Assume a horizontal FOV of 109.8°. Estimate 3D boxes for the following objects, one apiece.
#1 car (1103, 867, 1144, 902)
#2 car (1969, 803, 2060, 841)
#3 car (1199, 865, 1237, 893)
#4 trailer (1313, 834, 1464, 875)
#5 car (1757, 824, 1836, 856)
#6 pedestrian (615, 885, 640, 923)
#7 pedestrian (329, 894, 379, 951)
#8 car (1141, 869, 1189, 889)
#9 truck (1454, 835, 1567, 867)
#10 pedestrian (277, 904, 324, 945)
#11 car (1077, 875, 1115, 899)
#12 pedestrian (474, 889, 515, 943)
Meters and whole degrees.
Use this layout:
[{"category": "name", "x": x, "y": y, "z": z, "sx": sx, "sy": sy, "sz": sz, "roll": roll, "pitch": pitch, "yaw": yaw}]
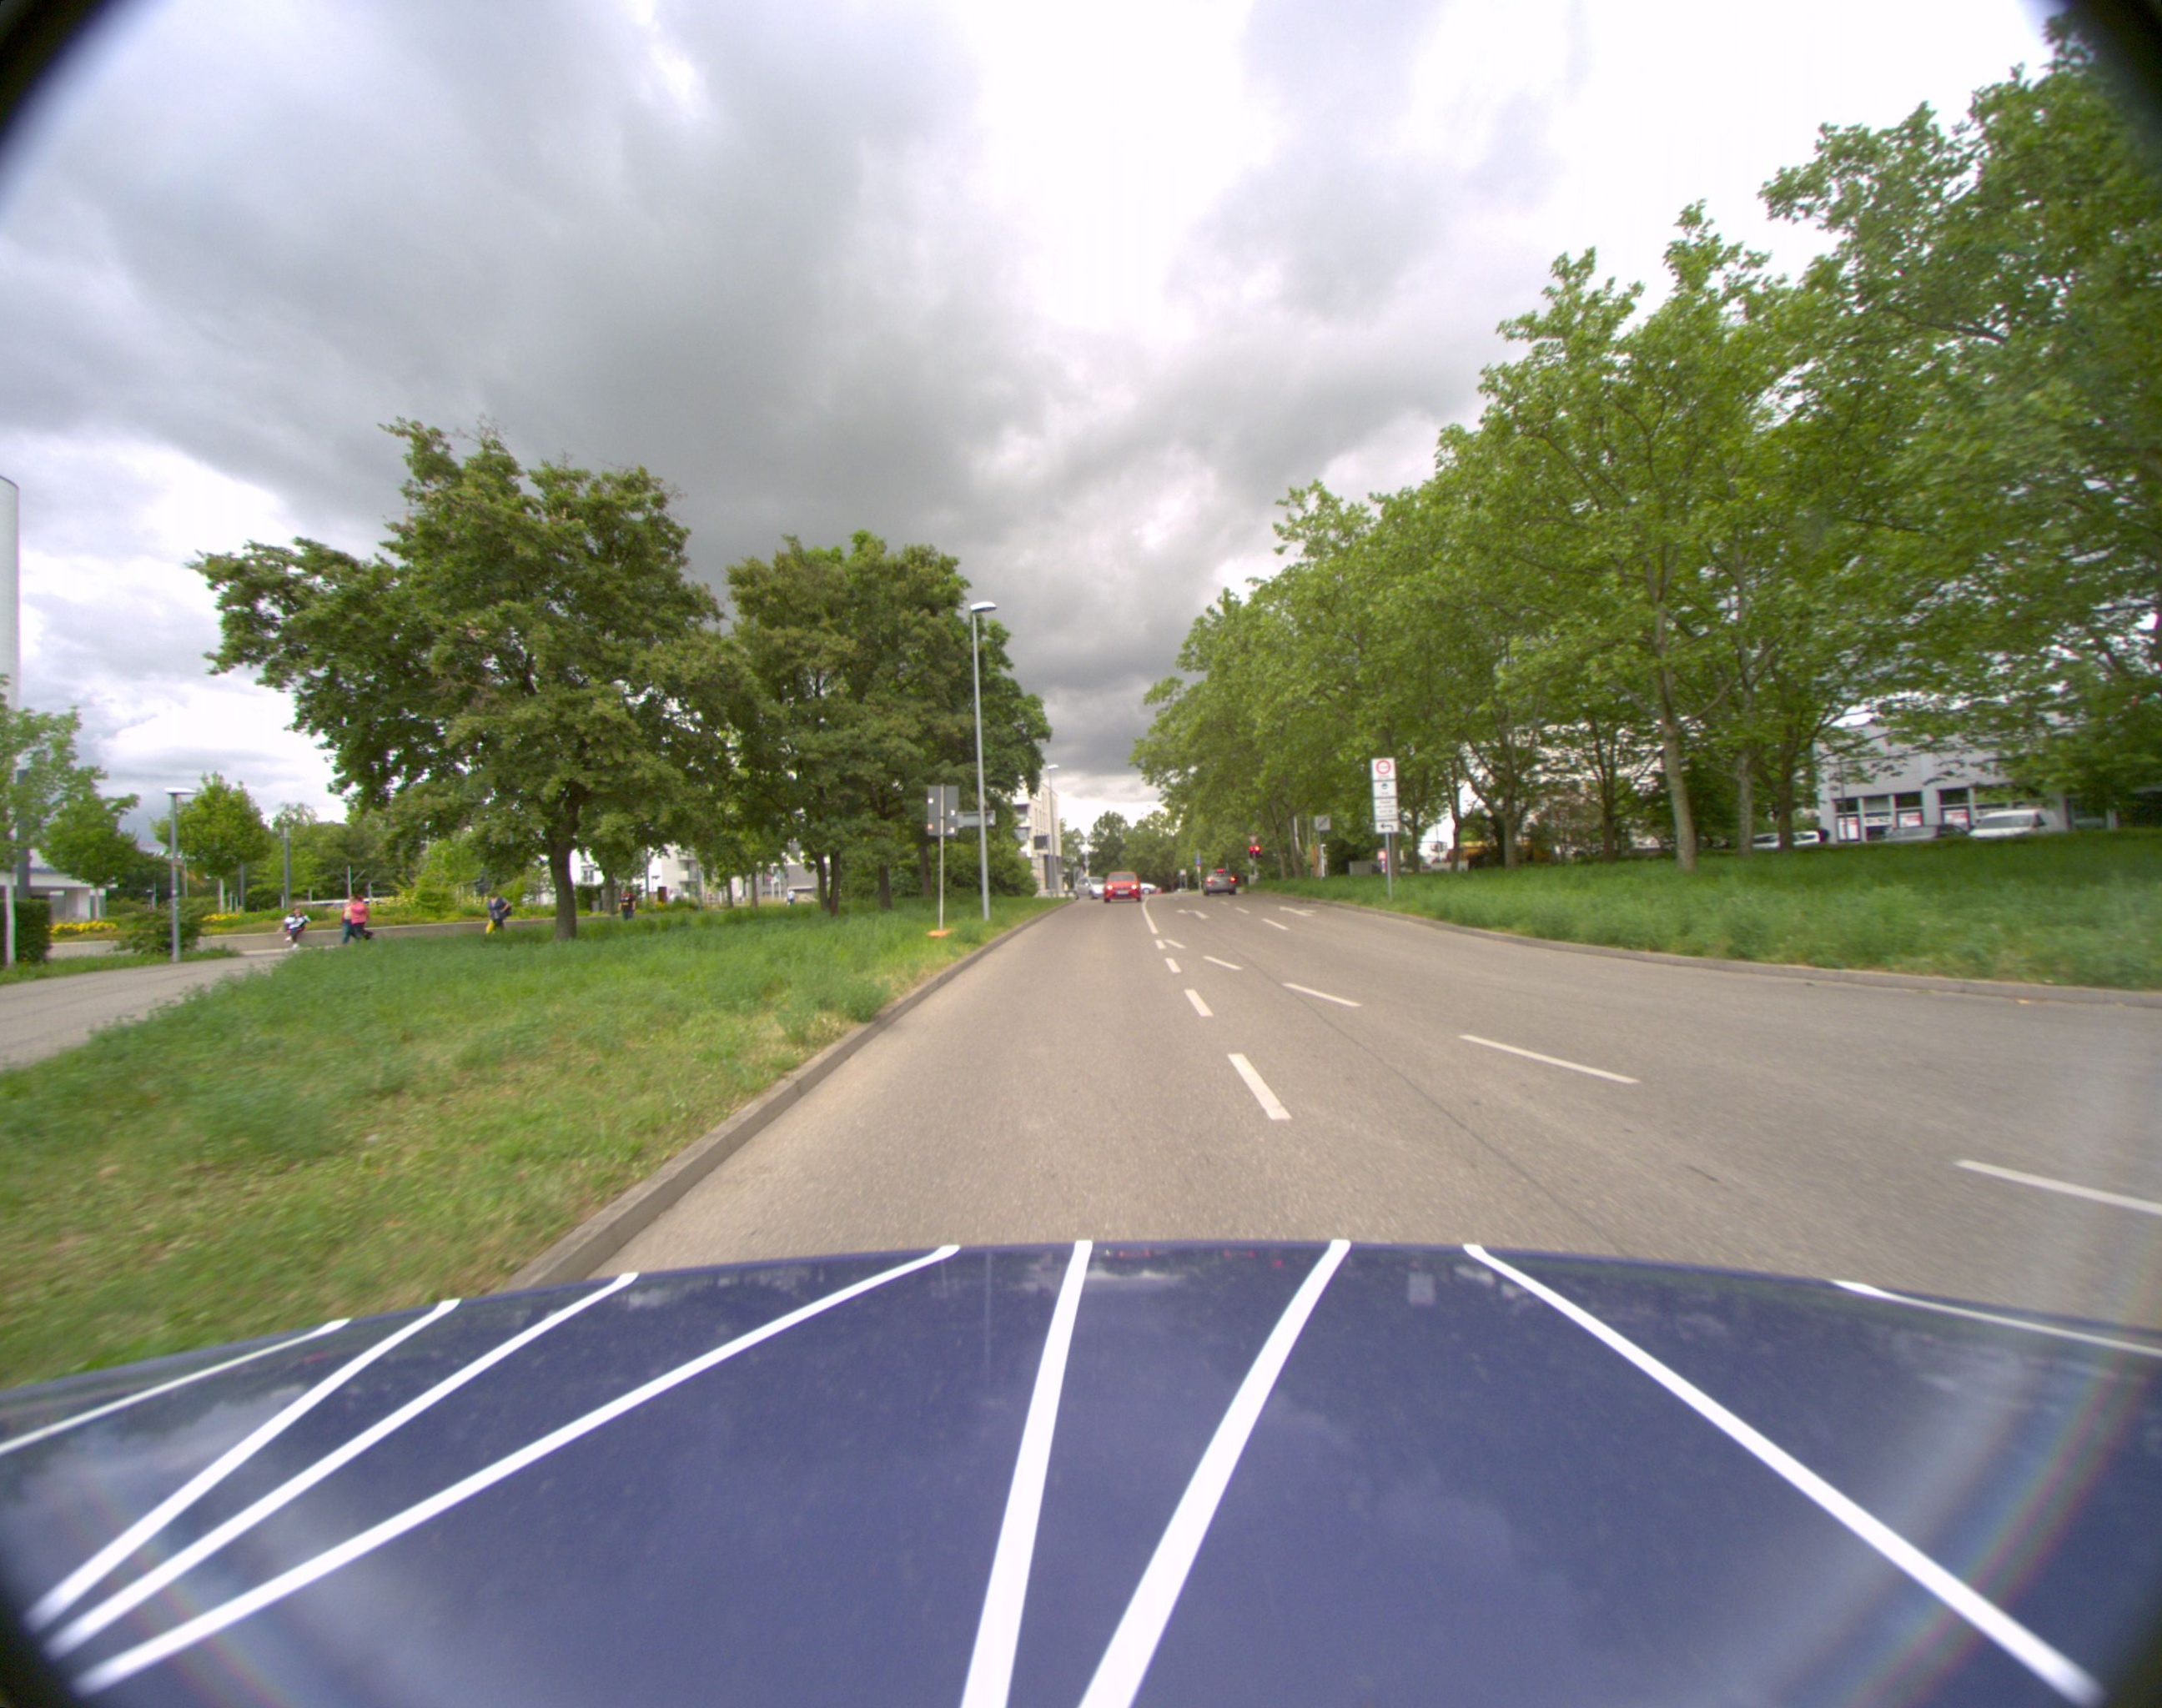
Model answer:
[{"category": "car", "x": 2.001, "y": 1.434, "z": 36.087, "sx": 1.758, "sy": 1.506, "sz": 4.002, "roll": -2, "pitch": -2, "yaw": 2}, {"category": "car", "x": 39.944, "y": -1.358, "z": 32.499, "sx": 4.005, "sy": 1.455, "sz": 1.651, "roll": -3, "pitch": 1, "yaw": -27}, {"category": "car", "x": 8.349, "y": 1.495, "z": 46.577, "sx": 1.758, "sy": 1.506, "sz": 4.000, "roll": -2, "pitch": 0, "yaw": 2}, {"category": "trailer", "x": 24.692, "y": 0.046, "z": 61.406, "sx": 11.074, "sy": 2.789, "sz": 2.083, "roll": -2, "pitch": 1, "yaw": 7}, {"category": "car", "x": 36.265, "y": -0.711, "z": 38.502, "sx": 4.005, "sy": 1.455, "sz": 1.651, "roll": -3, "pitch": 1, "yaw": -27}, {"category": "pedestrian", "x": -17.867, "y": 1.961, "z": 29.944, "sx": 0.676, "sy": 1.407, "sz": 0.666, "roll": -3, "pitch": 1, "yaw": -23}, {"category": "pedestrian", "x": -20.365, "y": 1.909, "z": 21.300, "sx": 0.676, "sy": 1.498, "sz": 0.667, "roll": -3, "pitch": 1, "yaw": -7}, {"category": "car", "x": 7.129, "y": 2.108, "z": 64.390, "sx": 3.916, "sy": 1.424, "sz": 1.610, "roll": -2, "pitch": 1, "yaw": 7}, {"category": "truck", "x": 34.021, "y": -0.255, "z": 60.340, "sx": 7.514, "sy": 2.200, "sz": 2.083, "roll": -2, "pitch": 1, "yaw": 7}, {"category": "pedestrian", "x": -23.572, "y": 2.122, "z": 22.947, "sx": 0.676, "sy": 1.135, "sz": 0.667, "roll": -3, "pitch": 1, "yaw": -7}, {"category": "car", "x": 1.005, "y": 2.285, "z": 53.528, "sx": 1.827, "sy": 1.477, "sz": 3.996, "roll": -3, "pitch": 0, "yaw": -10}, {"category": "pedestrian", "x": -18.279, "y": 1.920, "z": 23.691, "sx": 0.675, "sy": 1.597, "sz": 0.667, "roll": -2, "pitch": 1, "yaw": 2}]
